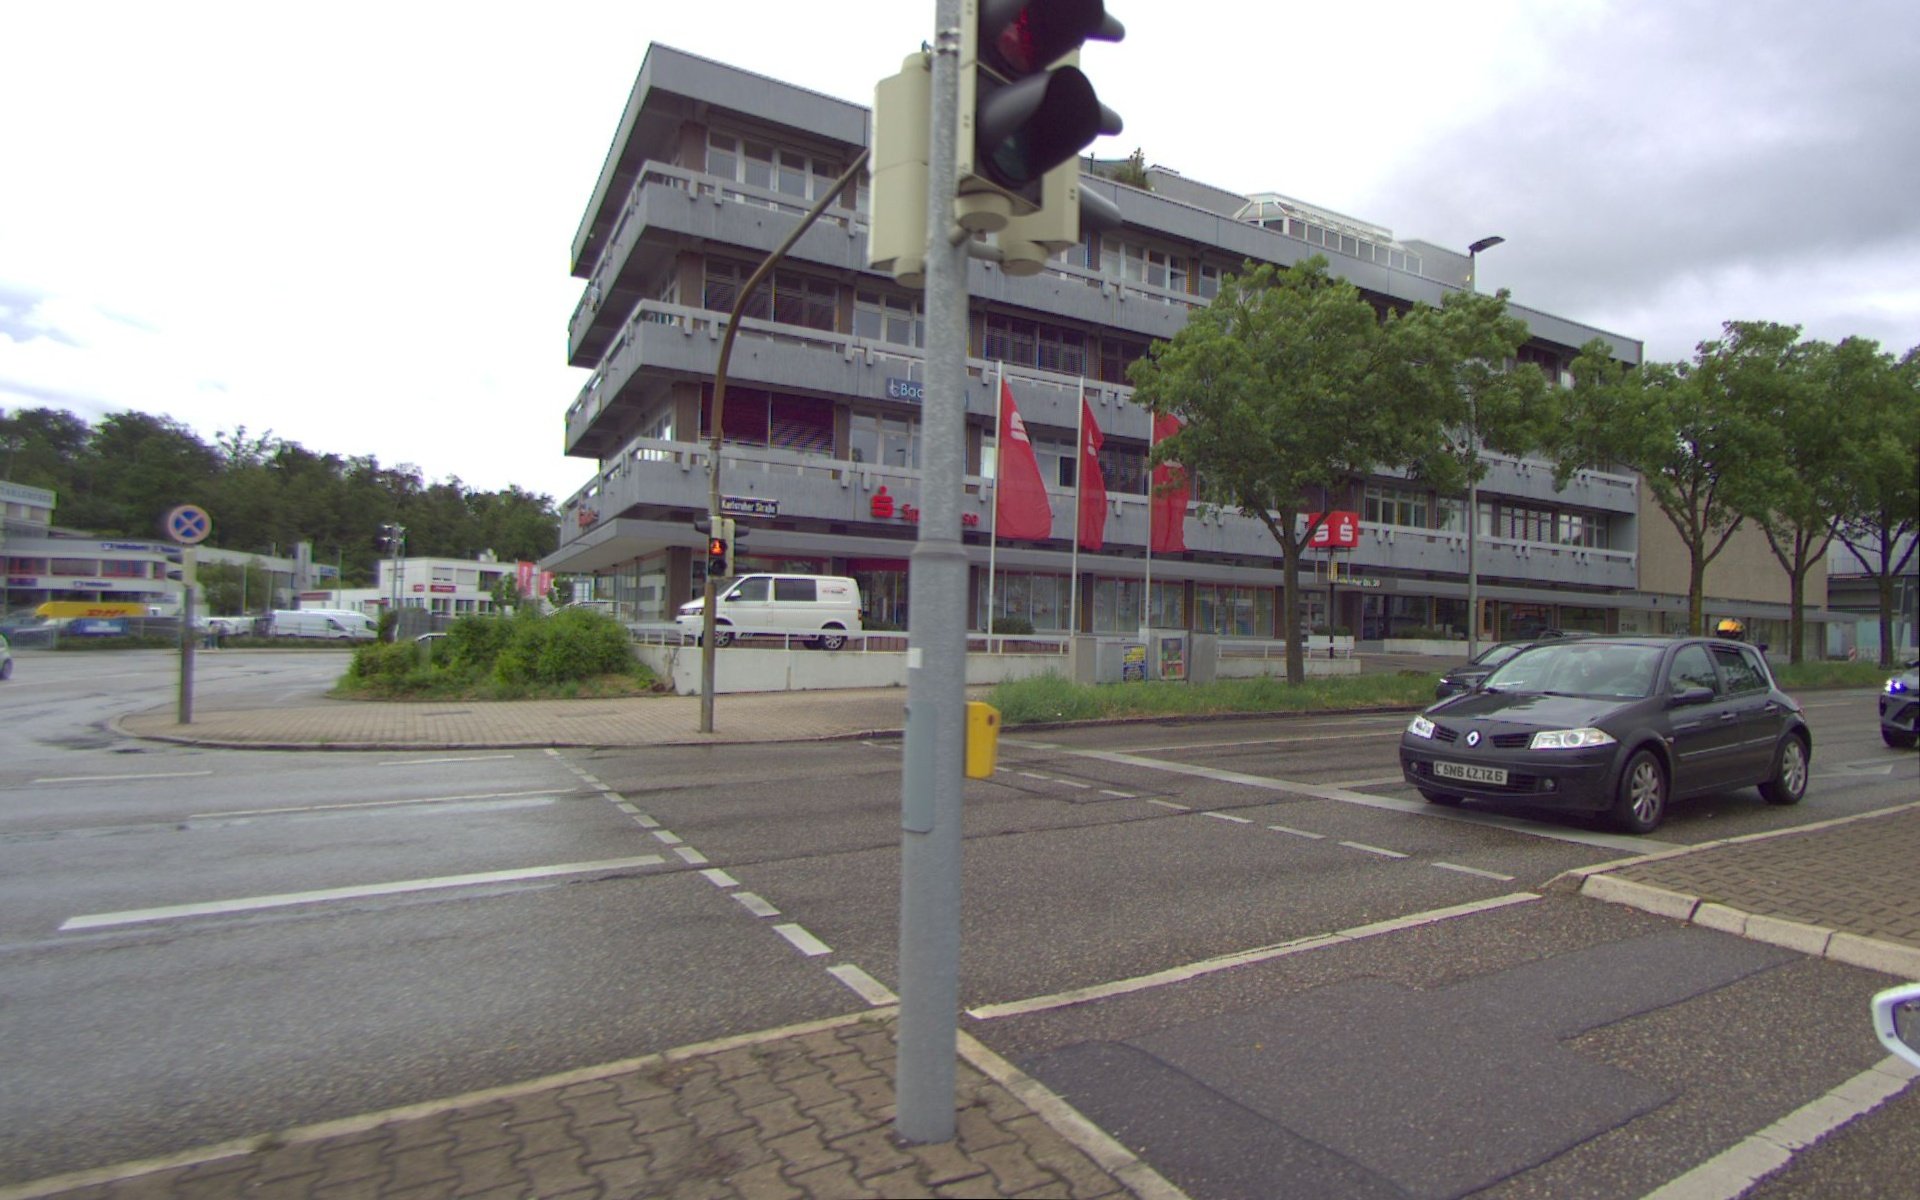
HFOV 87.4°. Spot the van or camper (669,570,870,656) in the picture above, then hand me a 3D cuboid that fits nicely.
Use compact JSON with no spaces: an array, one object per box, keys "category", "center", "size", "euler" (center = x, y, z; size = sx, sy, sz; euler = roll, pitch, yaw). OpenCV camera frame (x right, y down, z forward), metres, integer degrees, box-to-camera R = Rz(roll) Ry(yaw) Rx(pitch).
[{"category":"van or camper","center":[-4.938,0.364,26.204],"size":[4.732,1.993,1.984],"euler":[3,-1,-30]}]

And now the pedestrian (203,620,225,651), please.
[{"category":"pedestrian","center":[-44.336,2.115,59.702],"size":[0.849,1.802,0.532],"euler":[0,-2,5]}]

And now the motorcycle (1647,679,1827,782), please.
[{"category":"motorcycle","center":[8.701,1.410,11.221],"size":[2.296,0.988,0.803],"euler":[1,-4,-32]}]

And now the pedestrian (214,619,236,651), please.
[{"category":"pedestrian","center":[-44.249,2.086,60.461],"size":[0.731,1.910,0.724],"euler":[0,-2,5]}]

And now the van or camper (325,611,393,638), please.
[{"category":"van or camper","center":[-46.645,1.912,78.021],"size":[4.212,2.040,1.801],"euler":[2,-1,-43]}]

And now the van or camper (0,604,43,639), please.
[{"category":"van or camper","center":[-56.179,1.242,57.922],"size":[4.743,2.040,1.957],"euler":[2,-3,-42]}]

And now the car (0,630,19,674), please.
[{"category":"car","center":[-31.014,1.625,31.087],"size":[1.480,1.418,3.372],"euler":[1,-2,-20]}]

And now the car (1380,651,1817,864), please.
[{"category":"car","center":[5.507,1.149,8.542],"size":[3.957,1.395,1.672],"euler":[2,-2,-33]}]

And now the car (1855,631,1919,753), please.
[{"category":"car","center":[14.097,1.191,13.412],"size":[4.770,1.509,1.737],"euler":[2,-2,-29]}]

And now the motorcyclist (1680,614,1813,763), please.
[{"category":"motorcyclist","center":[8.866,0.952,11.321],"size":[1.253,1.580,0.802],"euler":[1,-1,-31]}]

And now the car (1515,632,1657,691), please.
[{"category":"car","center":[17.844,1.726,28.867],"size":[1.861,1.572,4.003],"euler":[0,-2,5]}]

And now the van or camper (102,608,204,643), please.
[{"category":"van or camper","center":[-49.627,1.604,61.895],"size":[4.528,2.072,1.840],"euler":[1,-2,-26]}]

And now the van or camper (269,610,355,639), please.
[{"category":"van or camper","center":[-47.296,1.831,73.410],"size":[5.025,2.040,1.976],"euler":[2,-3,-41]}]

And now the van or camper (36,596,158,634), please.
[{"category":"van or camper","center":[-55.781,1.016,65.094],"size":[5.657,2.387,1.925],"euler":[2,-2,-31]}]
